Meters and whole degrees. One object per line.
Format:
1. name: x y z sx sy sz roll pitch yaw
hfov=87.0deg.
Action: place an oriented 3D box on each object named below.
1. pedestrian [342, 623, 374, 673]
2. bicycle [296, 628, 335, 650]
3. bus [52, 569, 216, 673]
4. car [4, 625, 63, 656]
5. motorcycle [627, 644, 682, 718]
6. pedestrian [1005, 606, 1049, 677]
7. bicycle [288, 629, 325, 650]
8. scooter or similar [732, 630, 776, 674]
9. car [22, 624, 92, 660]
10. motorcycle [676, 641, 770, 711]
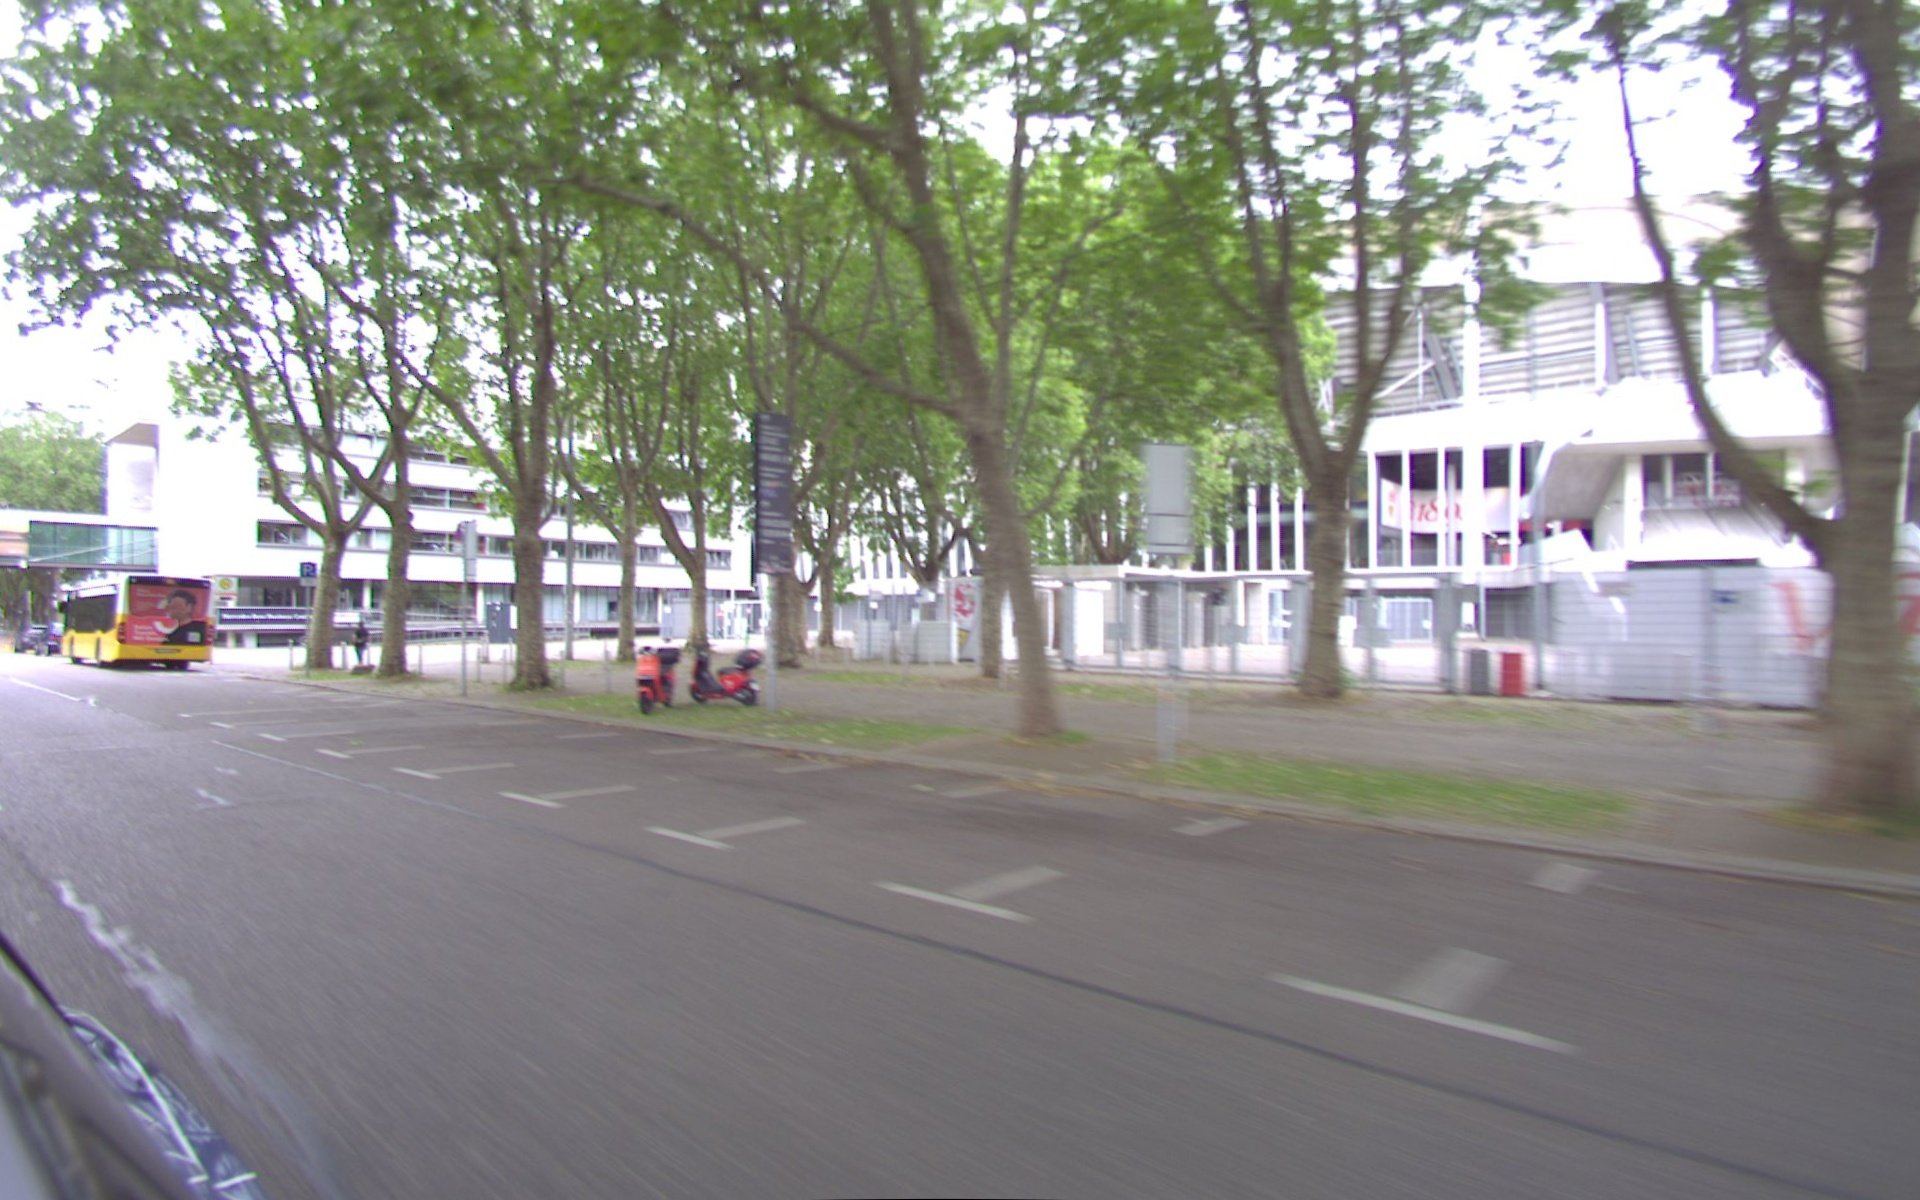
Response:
1. pedestrian: -19.552 1.549 32.864 0.912 1.601 0.655 -1 -1 41
2. bicycle: -37.813 2.291 59.389 0.568 1.196 1.894 -1 -1 38
3. bus: -29.904 0.799 36.333 12.366 3.179 2.623 -1 -4 42
4. car: -49.435 2.162 53.987 4.007 1.525 1.735 -1 -5 41
5. motorcycle: -5.420 1.401 18.038 0.566 1.167 2.080 -1 0 -6
6. pedestrian: 1.703 1.031 25.654 0.874 1.767 0.697 -1 -1 40
7. bicycle: -38.799 2.325 60.119 0.470 1.196 1.808 -1 -1 38
8. scooter or similar: -5.791 1.457 28.473 1.169 1.182 0.445 0 -1 -45
9. car: -42.966 1.987 48.141 4.383 1.578 1.736 -1 -6 40
10. motorcycle: -4.319 1.352 18.381 2.076 1.167 0.567 -1 -1 42
